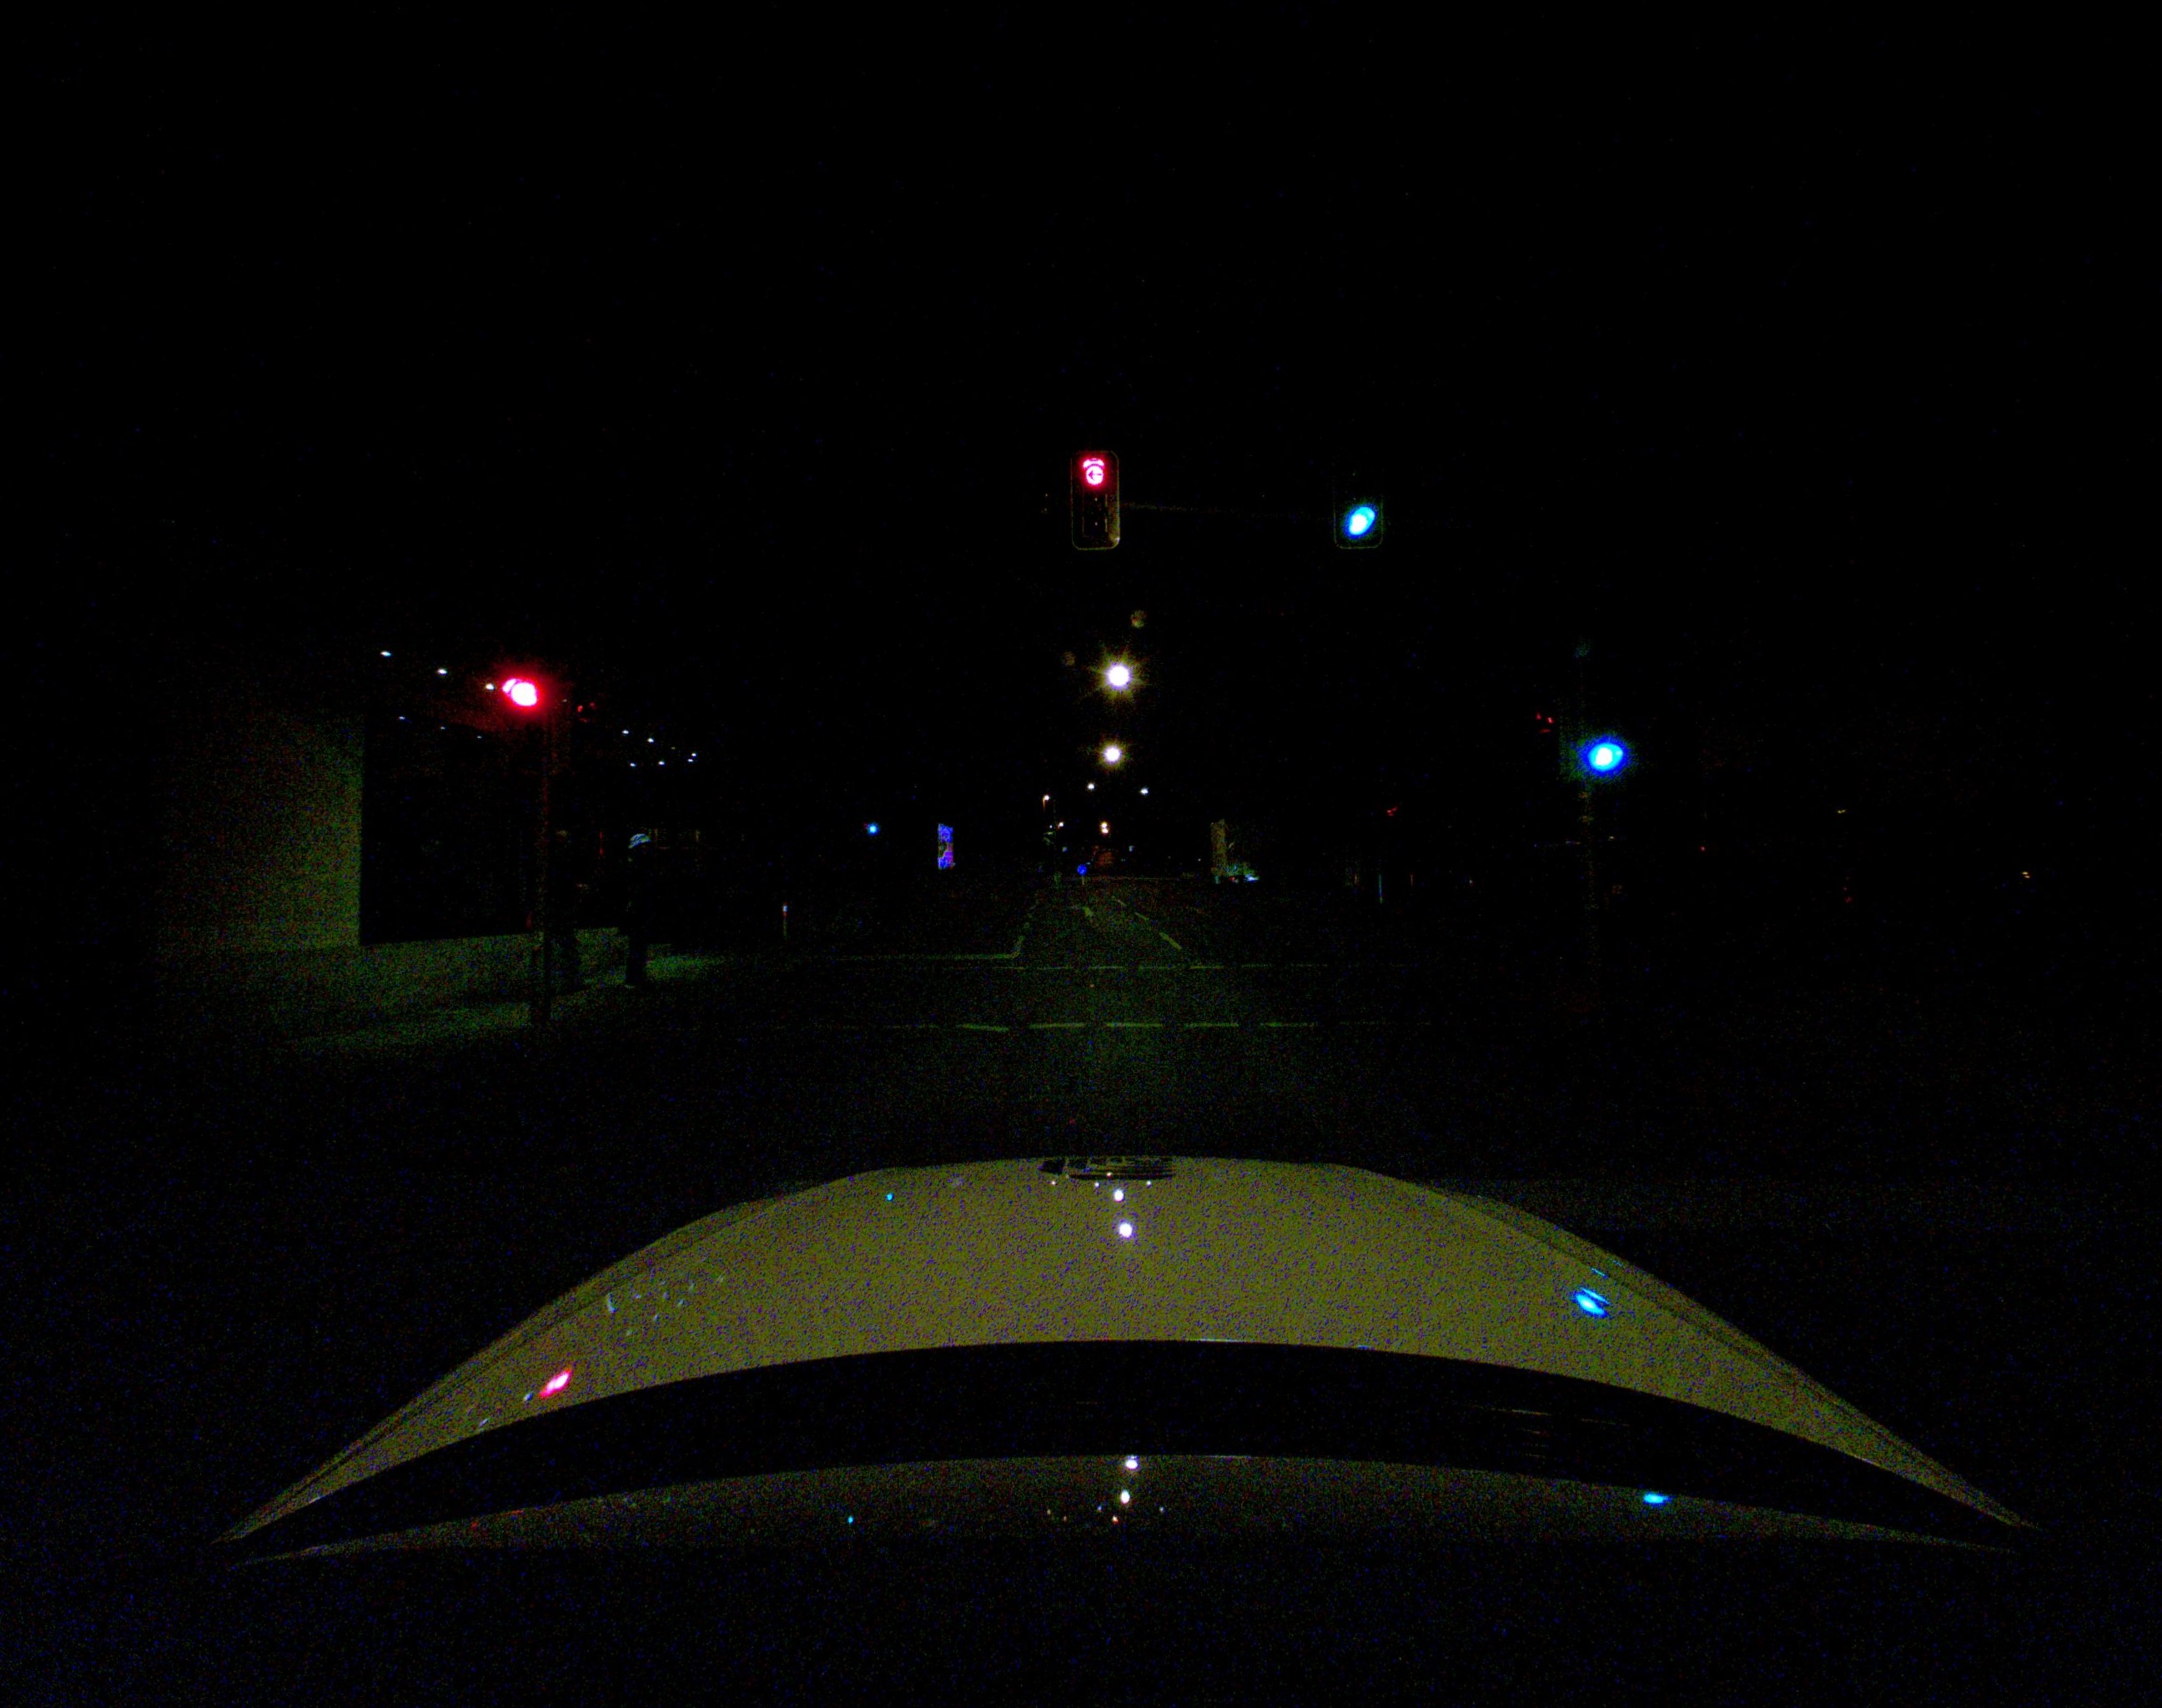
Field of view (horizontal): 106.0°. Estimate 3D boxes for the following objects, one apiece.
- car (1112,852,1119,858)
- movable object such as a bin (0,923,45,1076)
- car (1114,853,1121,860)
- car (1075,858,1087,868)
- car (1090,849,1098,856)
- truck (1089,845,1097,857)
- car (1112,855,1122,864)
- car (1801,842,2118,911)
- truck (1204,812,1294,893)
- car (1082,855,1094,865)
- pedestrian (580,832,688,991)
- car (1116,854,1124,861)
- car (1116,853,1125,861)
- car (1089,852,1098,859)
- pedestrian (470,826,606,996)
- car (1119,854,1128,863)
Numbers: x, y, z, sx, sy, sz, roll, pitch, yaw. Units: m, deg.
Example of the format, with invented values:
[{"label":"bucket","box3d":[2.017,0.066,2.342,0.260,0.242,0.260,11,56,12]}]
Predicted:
[{"label":"car","box3d":[8.182,0.264,191.554,1.628,1.452,3.486,0,0,2]},{"label":"movable object such as a bin","box3d":[-7.930,1.034,5.702,0.633,1.049,0.657,-1,-1,19]},{"label":"car","box3d":[7.975,0.516,178.576,1.628,1.452,3.486,0,0,2]},{"label":"car","box3d":[0.062,1.332,118.414,1.628,1.452,3.486,0,0,2]},{"label":"car","box3d":[2.995,-0.337,187.155,1.809,1.491,4.000,0,0,0]},{"label":"truck","box3d":[3.137,-0.725,209.808,2.079,2.848,5.831,0,0,0]},{"label":"car","box3d":[6.064,0.890,137.832,1.587,1.476,3.655,0,0,2]},{"label":"car","box3d":[17.319,0.447,16.271,4.107,1.280,1.770,-1,-1,9]},{"label":"truck","box3d":[6.958,-0.059,34.581,2.738,3.110,6.262,0,0,2]},{"label":"car","box3d":[1.193,1.000,134.627,1.808,1.684,4.002,0,0,2]},{"label":"pedestrian","box3d":[-5.163,0.634,9.475,0.673,1.745,1.029,-1,-1,0]},{"label":"car","box3d":[7.604,0.700,159.329,1.628,1.452,3.486,0,0,2]},{"label":"car","box3d":[7.468,0.639,153.143,1.628,1.452,3.486,0,0,2]},{"label":"car","box3d":[2.430,0.305,160.753,1.809,1.491,4.000,0,0,0]},{"label":"pedestrian","box3d":[-5.913,0.593,8.933,0.739,1.745,1.103,-1,-1,0]},{"label":"car","box3d":[7.482,0.815,143.399,1.628,1.452,3.486,0,0,2]}]
